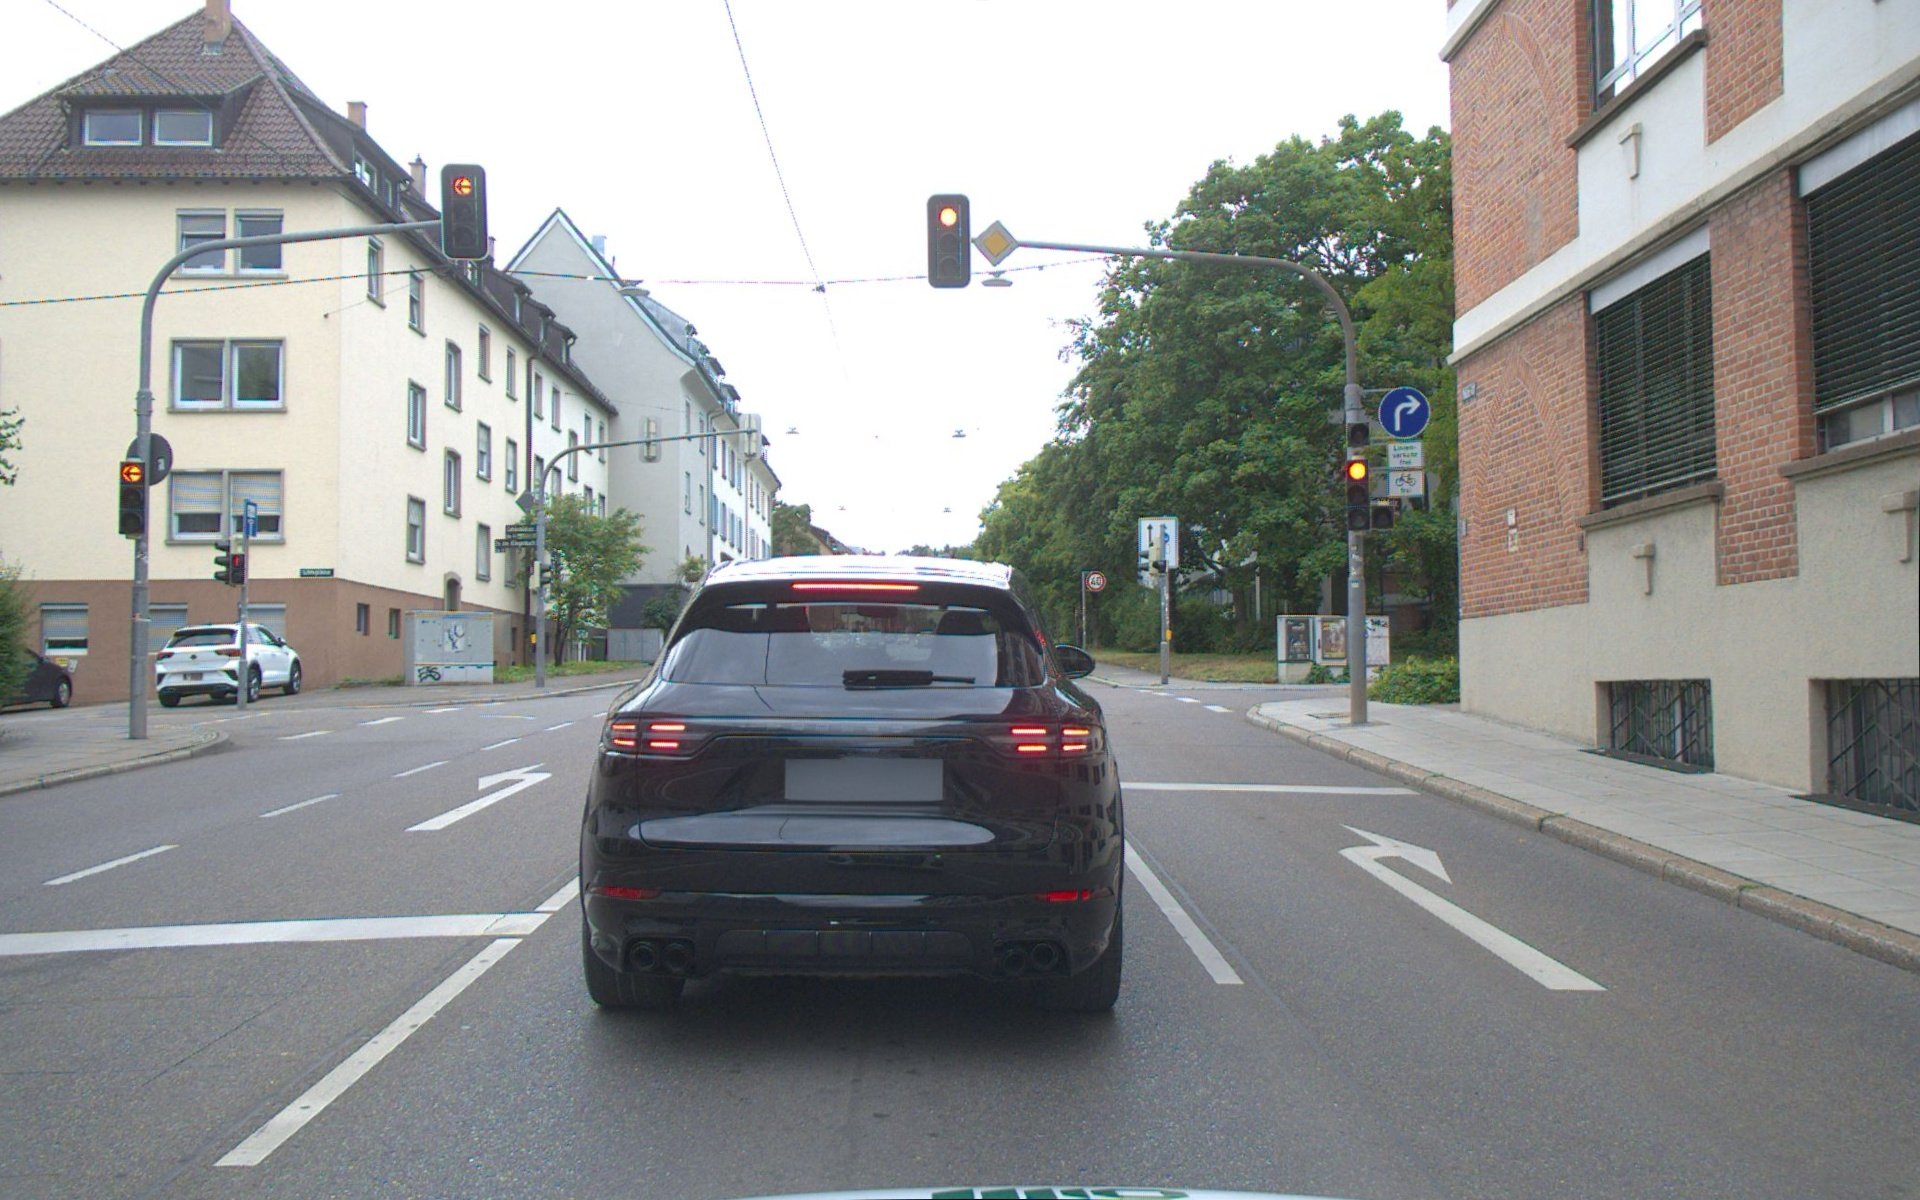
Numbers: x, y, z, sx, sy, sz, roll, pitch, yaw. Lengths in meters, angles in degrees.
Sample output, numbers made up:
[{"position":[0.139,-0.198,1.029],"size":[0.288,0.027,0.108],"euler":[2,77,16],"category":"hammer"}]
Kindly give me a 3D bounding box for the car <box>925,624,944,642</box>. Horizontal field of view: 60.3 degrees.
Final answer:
[{"position":[-2.486,3.228,163.220],"size":[1.790,1.633,4.134],"euler":[1,0,-1],"category":"car"}]

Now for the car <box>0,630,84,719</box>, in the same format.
[{"position":[-19.629,1.516,33.762],"size":[1.658,1.636,3.762],"euler":[-3,0,-5],"category":"car"}]

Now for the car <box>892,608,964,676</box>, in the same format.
[{"position":[-0.835,1.073,43.790],"size":[1.790,1.633,4.134],"euler":[1,0,-1],"category":"car"}]

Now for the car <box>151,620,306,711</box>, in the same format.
[{"position":[-14.723,1.272,33.489],"size":[1.658,1.582,3.762],"euler":[-3,0,-5],"category":"car"}]

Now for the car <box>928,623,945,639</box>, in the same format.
[{"position":[-2.552,3.386,182.392],"size":[1.790,1.633,4.134],"euler":[1,0,-1],"category":"car"}]

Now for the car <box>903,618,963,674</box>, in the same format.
[{"position":[-0.838,1.424,52.503],"size":[1.790,1.633,3.858],"euler":[1,0,-1],"category":"car"}]

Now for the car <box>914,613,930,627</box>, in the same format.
[{"position":[-4.664,2.400,202.836],"size":[1.790,1.633,4.134],"euler":[1,0,-1],"category":"car"}]

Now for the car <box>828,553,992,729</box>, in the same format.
[{"position":[-0.622,0.484,21.878],"size":[1.925,2.078,4.134],"euler":[1,0,-1],"category":"car"}]

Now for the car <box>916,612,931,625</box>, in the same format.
[{"position":[-4.589,2.347,210.163],"size":[1.790,1.633,4.134],"euler":[1,0,-1],"category":"car"}]

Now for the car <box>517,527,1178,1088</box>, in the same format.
[{"position":[-0.361,0.635,7.232],"size":[2.007,1.695,4.266],"euler":[1,0,-1],"category":"car"}]
